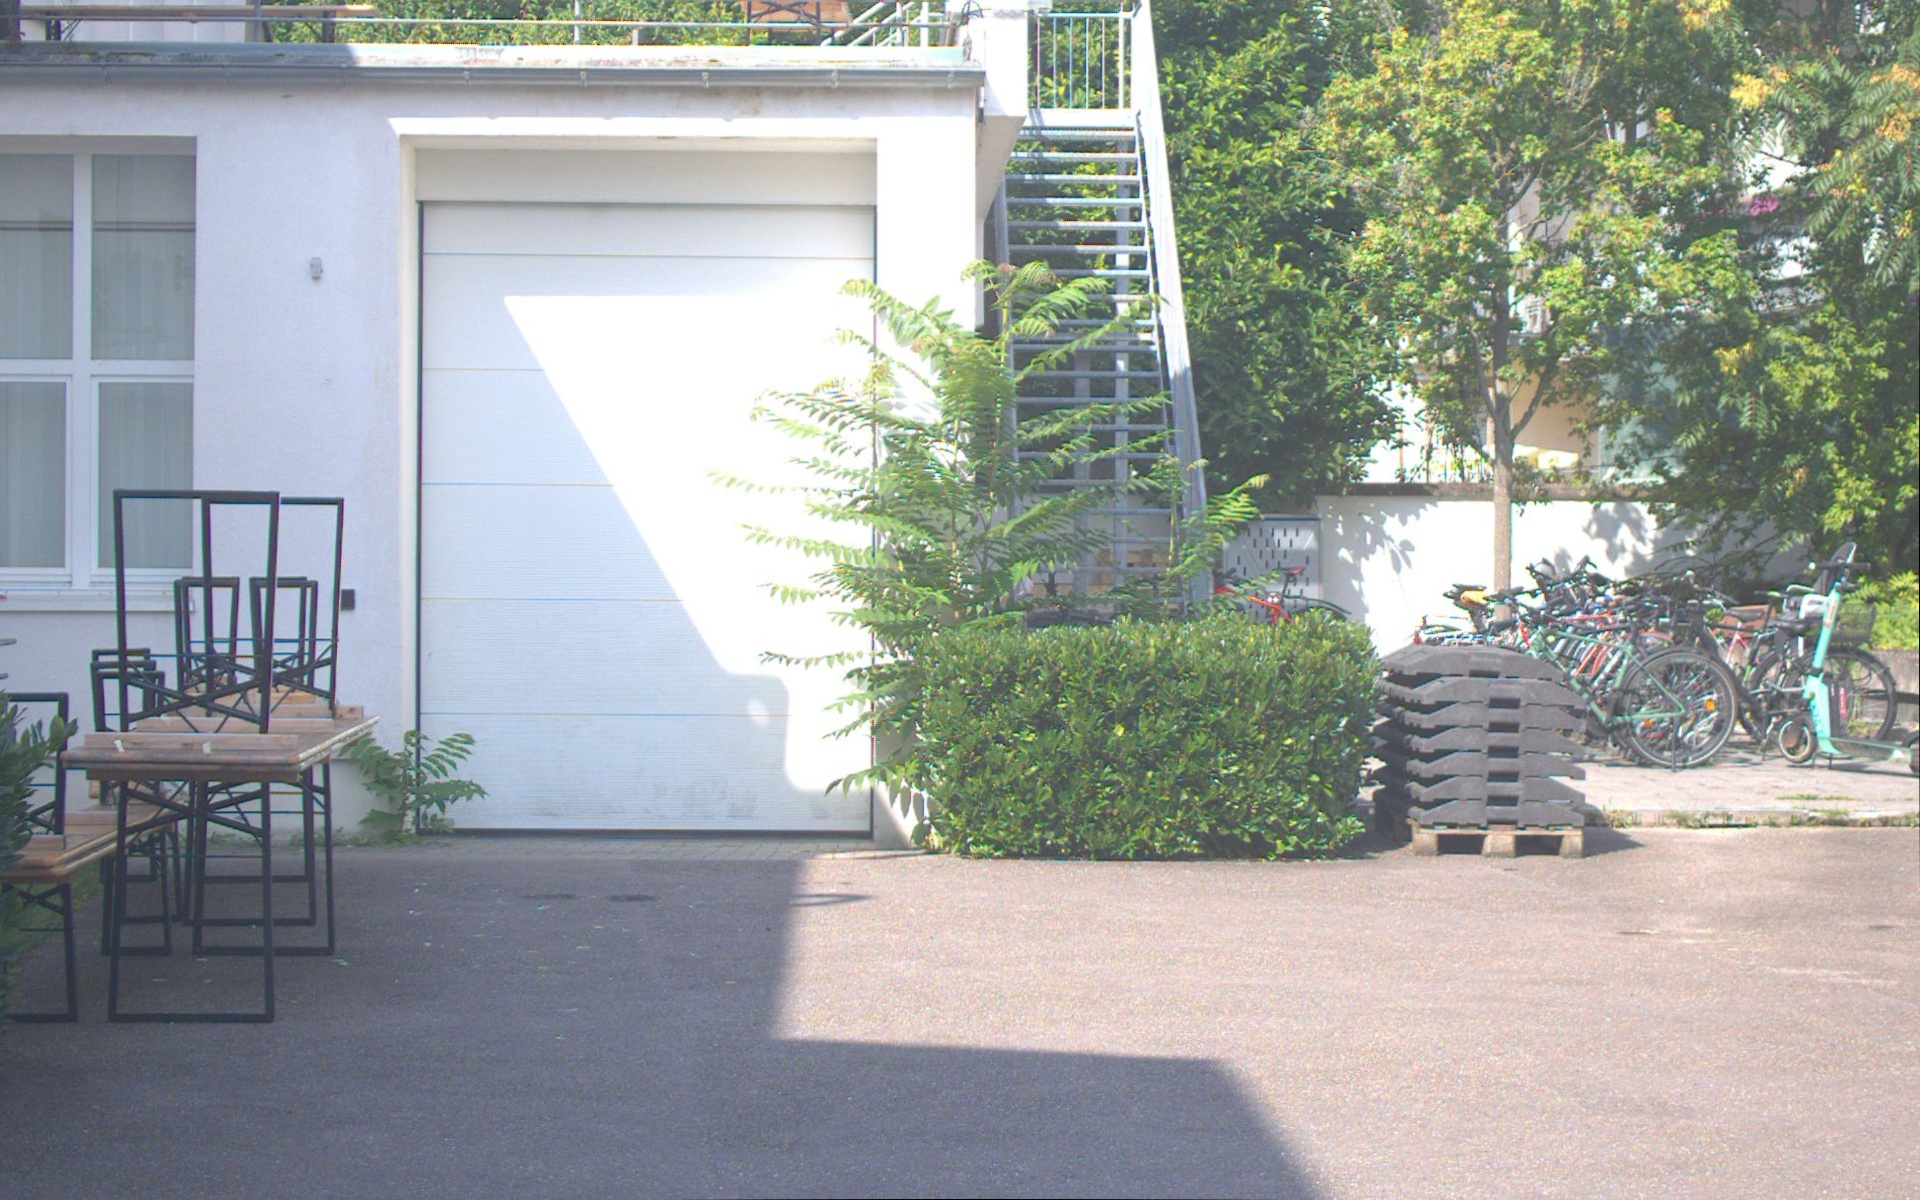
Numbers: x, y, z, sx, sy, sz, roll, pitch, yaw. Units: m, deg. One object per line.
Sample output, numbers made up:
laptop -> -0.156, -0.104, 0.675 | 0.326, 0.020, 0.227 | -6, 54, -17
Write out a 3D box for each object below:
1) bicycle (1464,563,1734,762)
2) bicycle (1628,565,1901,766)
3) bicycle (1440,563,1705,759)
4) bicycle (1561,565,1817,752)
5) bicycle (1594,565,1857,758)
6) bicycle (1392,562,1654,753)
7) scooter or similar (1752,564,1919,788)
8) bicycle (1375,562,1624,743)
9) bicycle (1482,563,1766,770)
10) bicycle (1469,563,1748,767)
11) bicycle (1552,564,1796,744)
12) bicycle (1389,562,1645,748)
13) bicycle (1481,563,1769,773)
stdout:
bicycle -> 3.941, 0.382, 21.258 | 1.623, 1.210, 0.327 | 0, 1, 9
bicycle -> 4.948, 0.397, 21.178 | 1.624, 1.210, 0.327 | 0, 1, 14
bicycle -> 3.853, 0.377, 21.620 | 1.624, 1.210, 0.327 | 0, 1, 12
bicycle -> 4.786, 0.378, 22.612 | 1.624, 1.210, 0.424 | 0, 1, 11
bicycle -> 4.897, 0.387, 22.039 | 1.624, 1.210, 0.424 | 0, 1, 12
bicycle -> 3.645, 0.366, 22.293 | 1.623, 1.210, 0.424 | 0, 1, -2
scooter or similar -> 5.237, 0.422, 19.973 | 0.378, 1.256, 1.349 | -1, 1, -33
bicycle -> 3.689, 0.352, 23.531 | 1.623, 1.210, 0.424 | -1, 1, -6
bicycle -> 3.955, 0.392, 20.513 | 1.623, 1.210, 0.327 | 0, 1, 0
bicycle -> 3.918, 0.387, 20.806 | 1.623, 1.210, 0.327 | 0, 1, 0
bicycle -> 4.900, 0.367, 23.641 | 1.624, 1.210, 0.424 | 0, 1, 11
bicycle -> 3.711, 0.360, 22.929 | 1.623, 1.210, 0.424 | -1, 1, -7
bicycle -> 3.898, 0.395, 20.190 | 1.623, 1.210, 0.327 | 0, 1, 0
